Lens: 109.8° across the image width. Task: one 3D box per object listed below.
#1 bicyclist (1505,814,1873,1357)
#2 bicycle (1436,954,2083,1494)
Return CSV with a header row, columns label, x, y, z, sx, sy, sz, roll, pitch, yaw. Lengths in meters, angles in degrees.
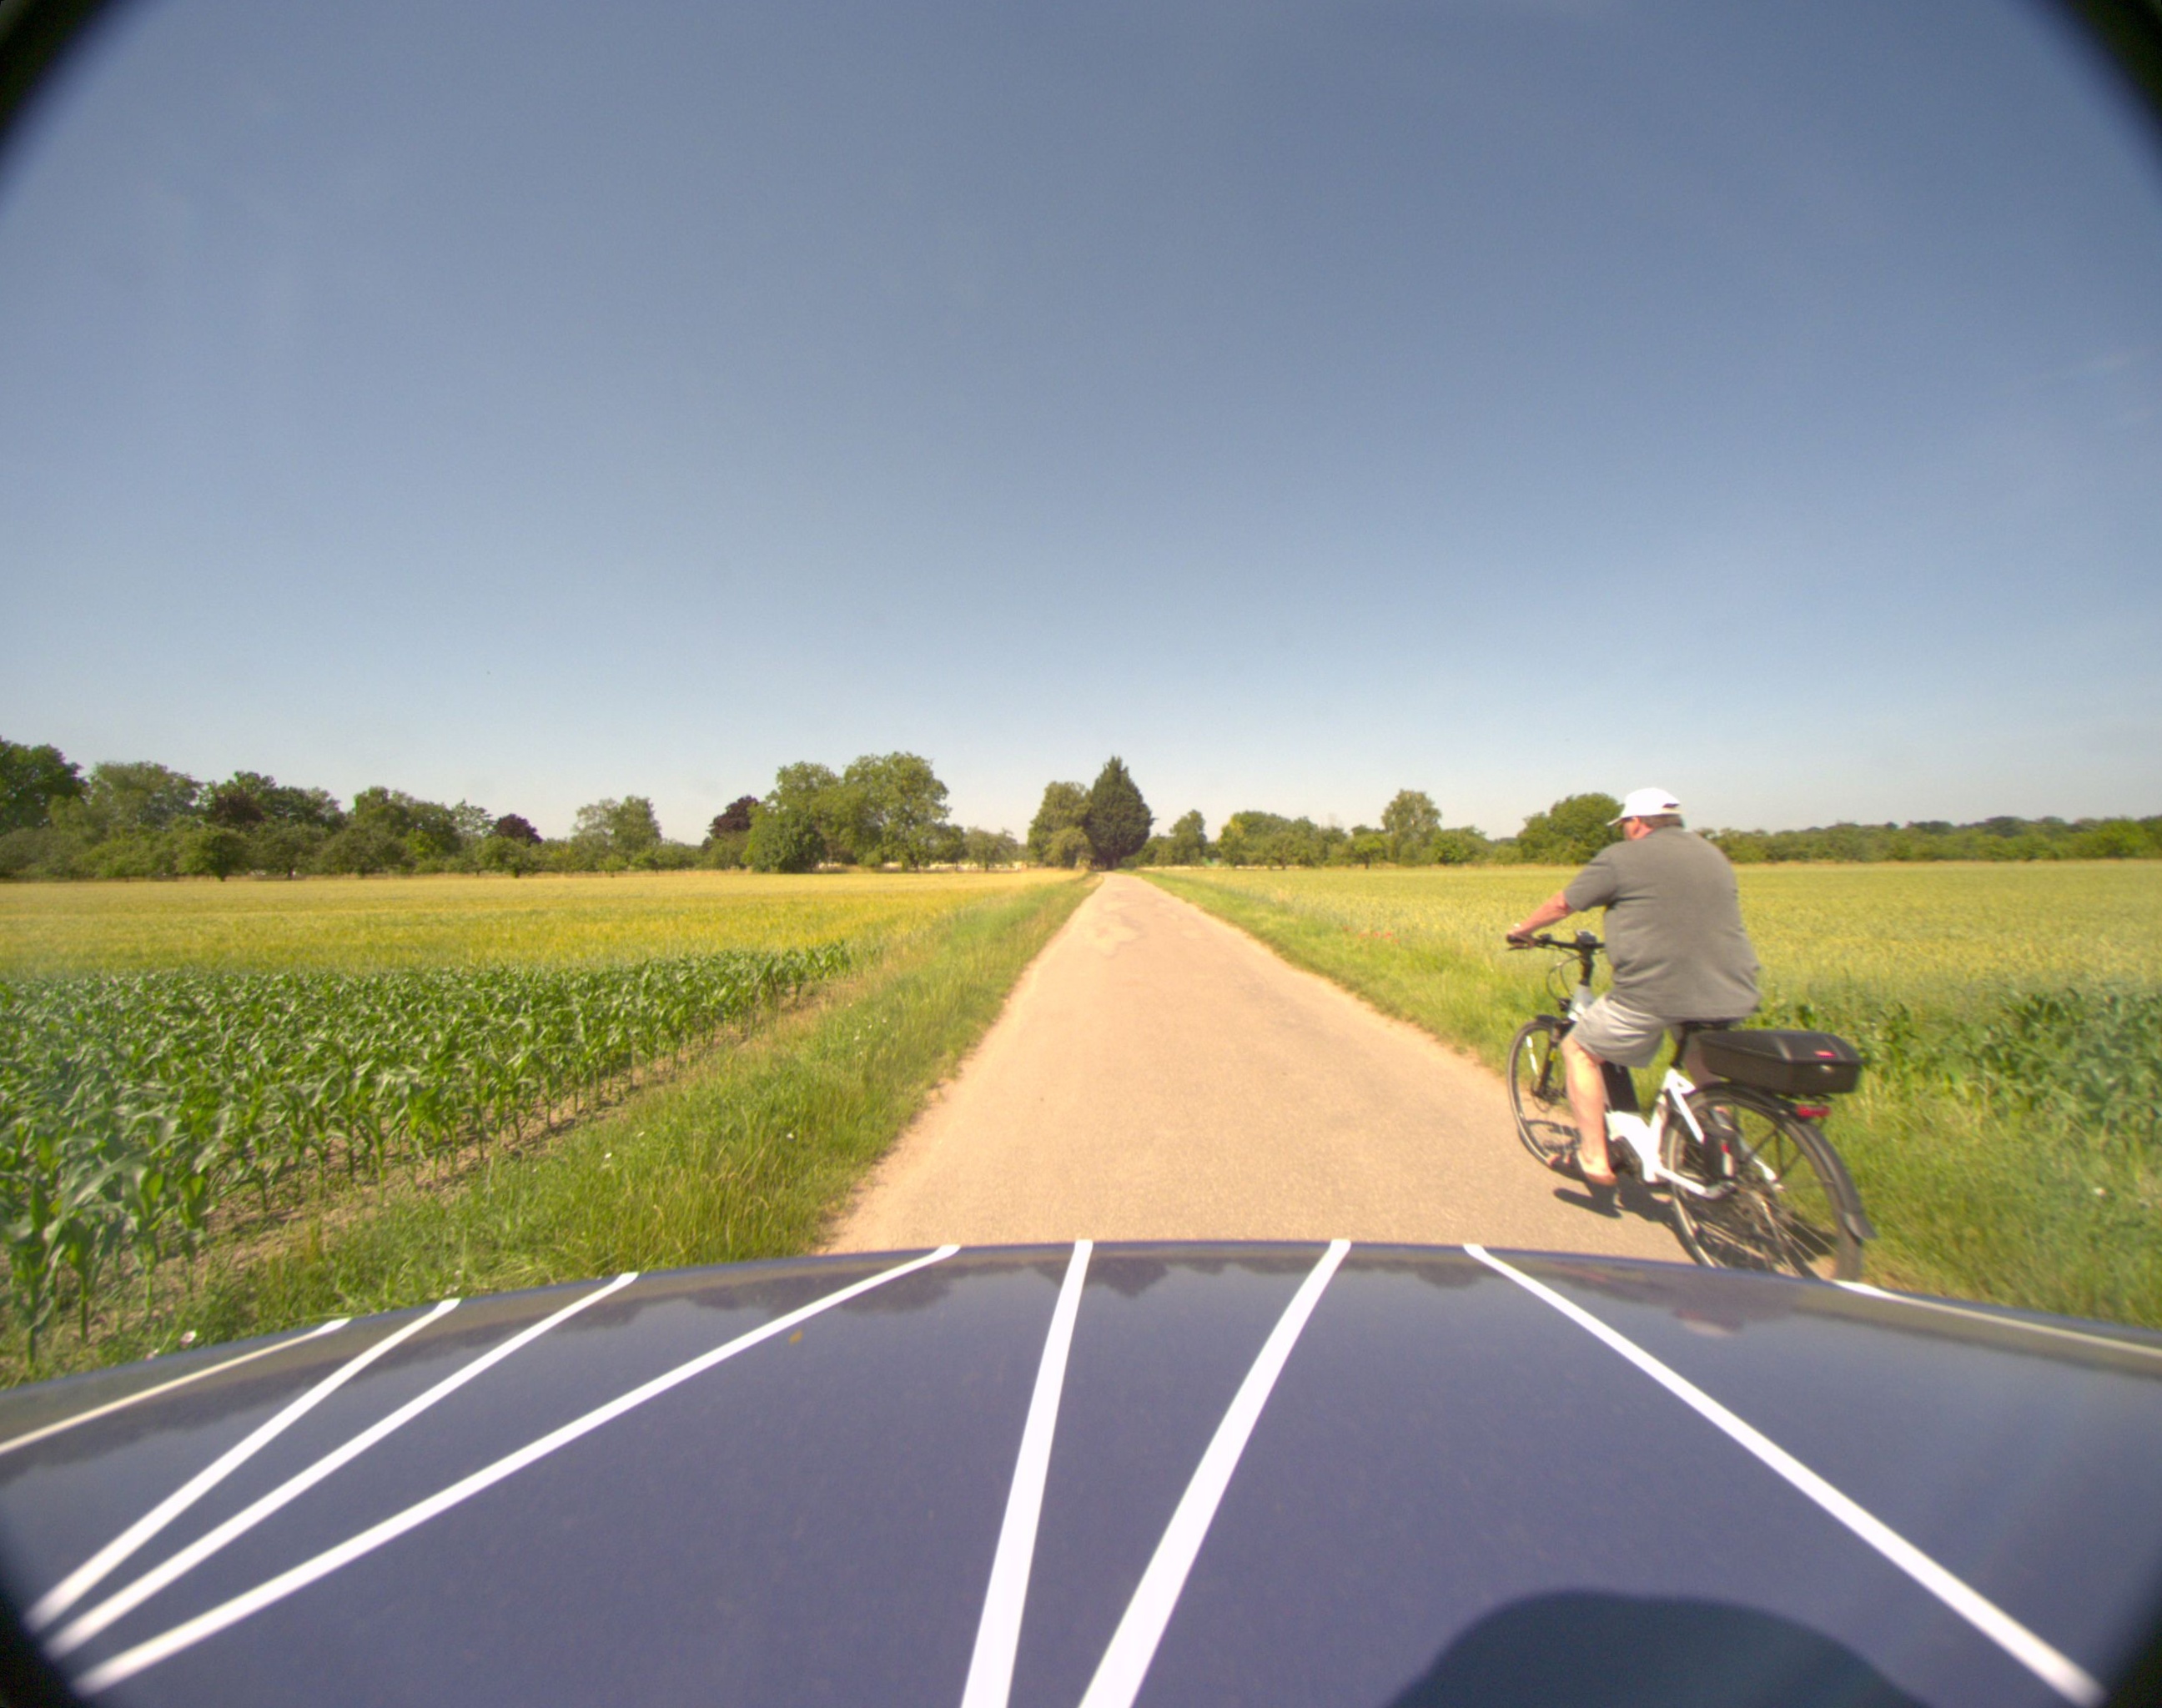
label,x,y,z,sx,sy,sz,roll,pitch,yaw
bicyclist,2.195,0.765,2.856,0.752,1.781,0.717,1,1,0
bicycle,2.194,1.084,2.915,0.752,1.121,1.908,1,1,1
